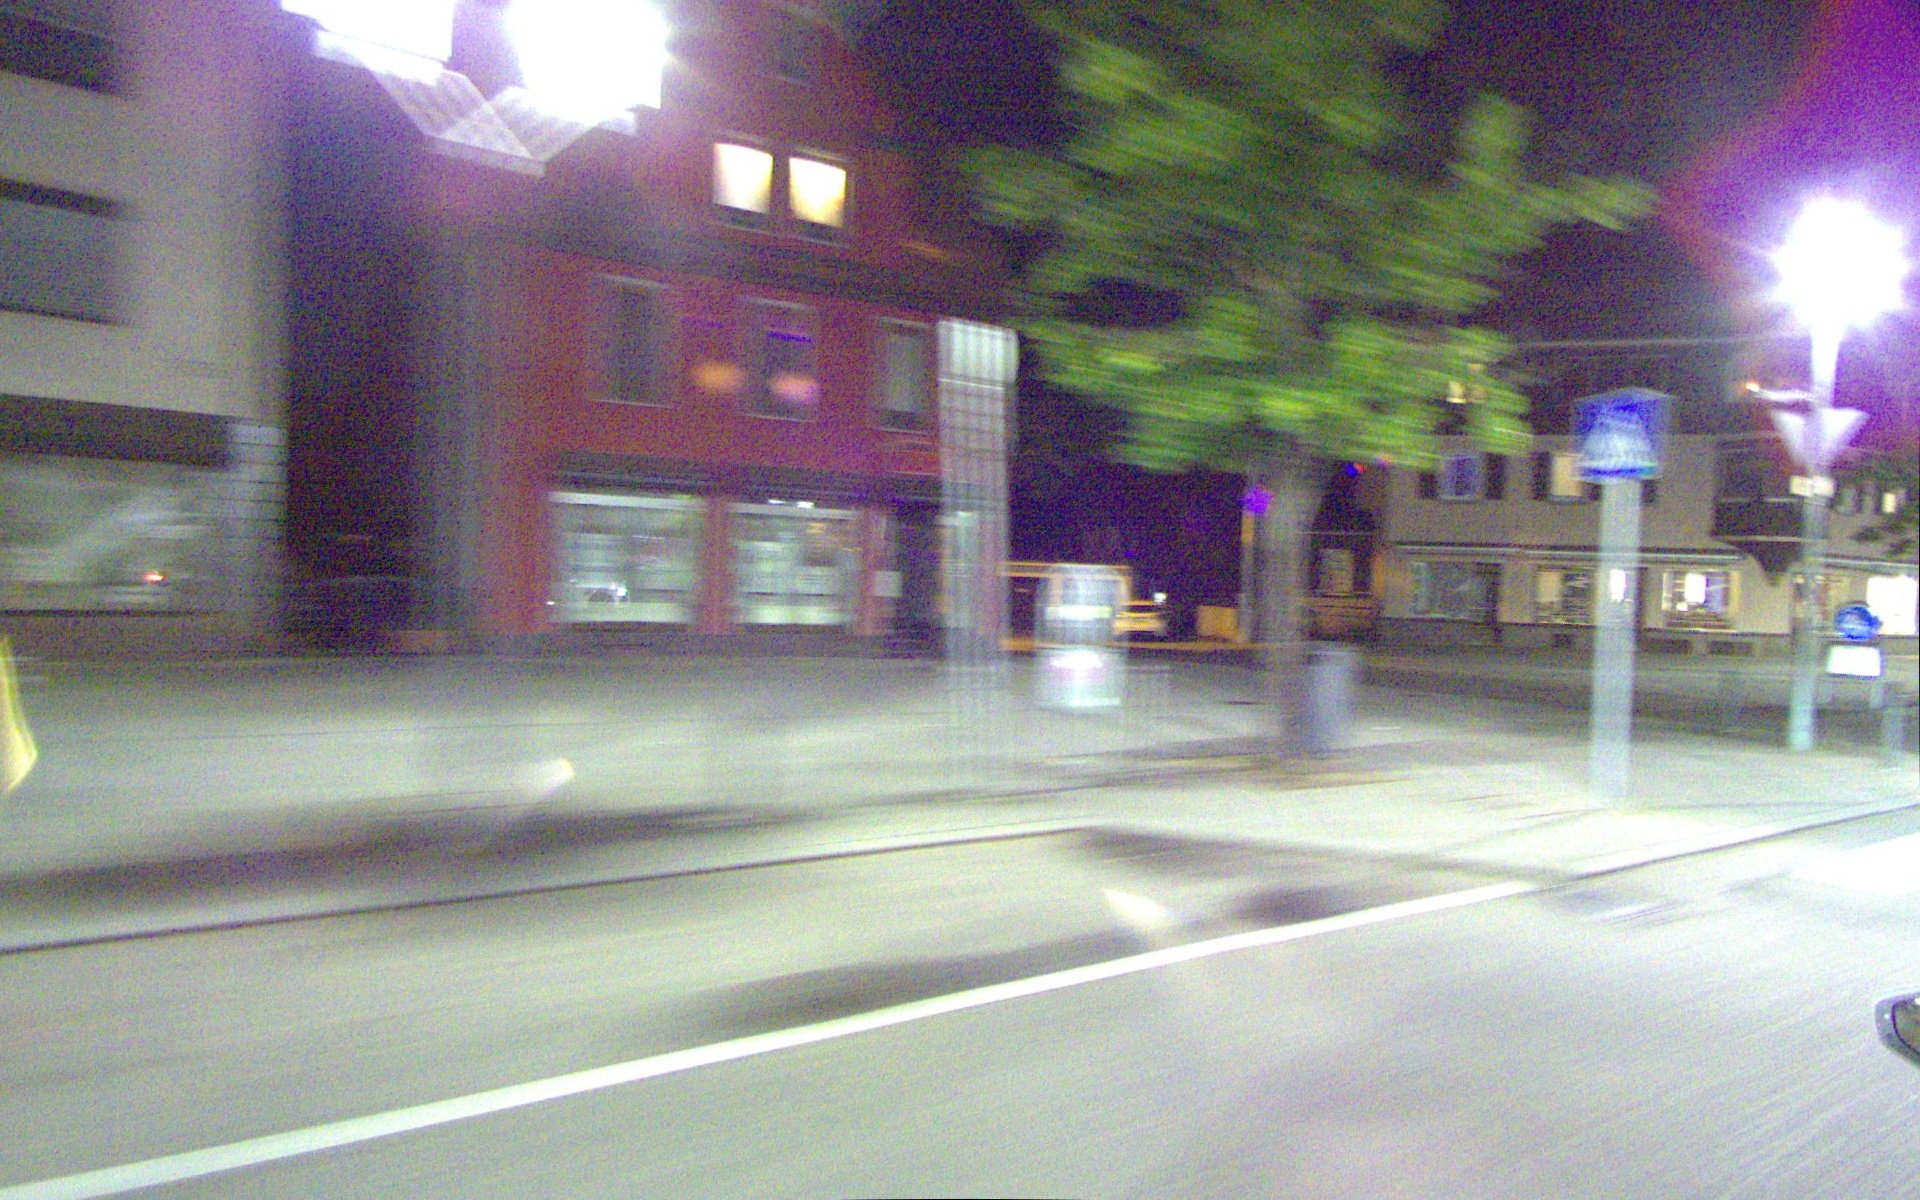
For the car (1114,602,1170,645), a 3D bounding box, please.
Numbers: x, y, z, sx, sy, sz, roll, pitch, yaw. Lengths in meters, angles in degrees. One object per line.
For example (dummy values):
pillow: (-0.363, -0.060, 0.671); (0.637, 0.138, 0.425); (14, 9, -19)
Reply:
car: (6.729, 0.800, 36.864); (1.882, 1.461, 4.002); (1, 0, 12)
